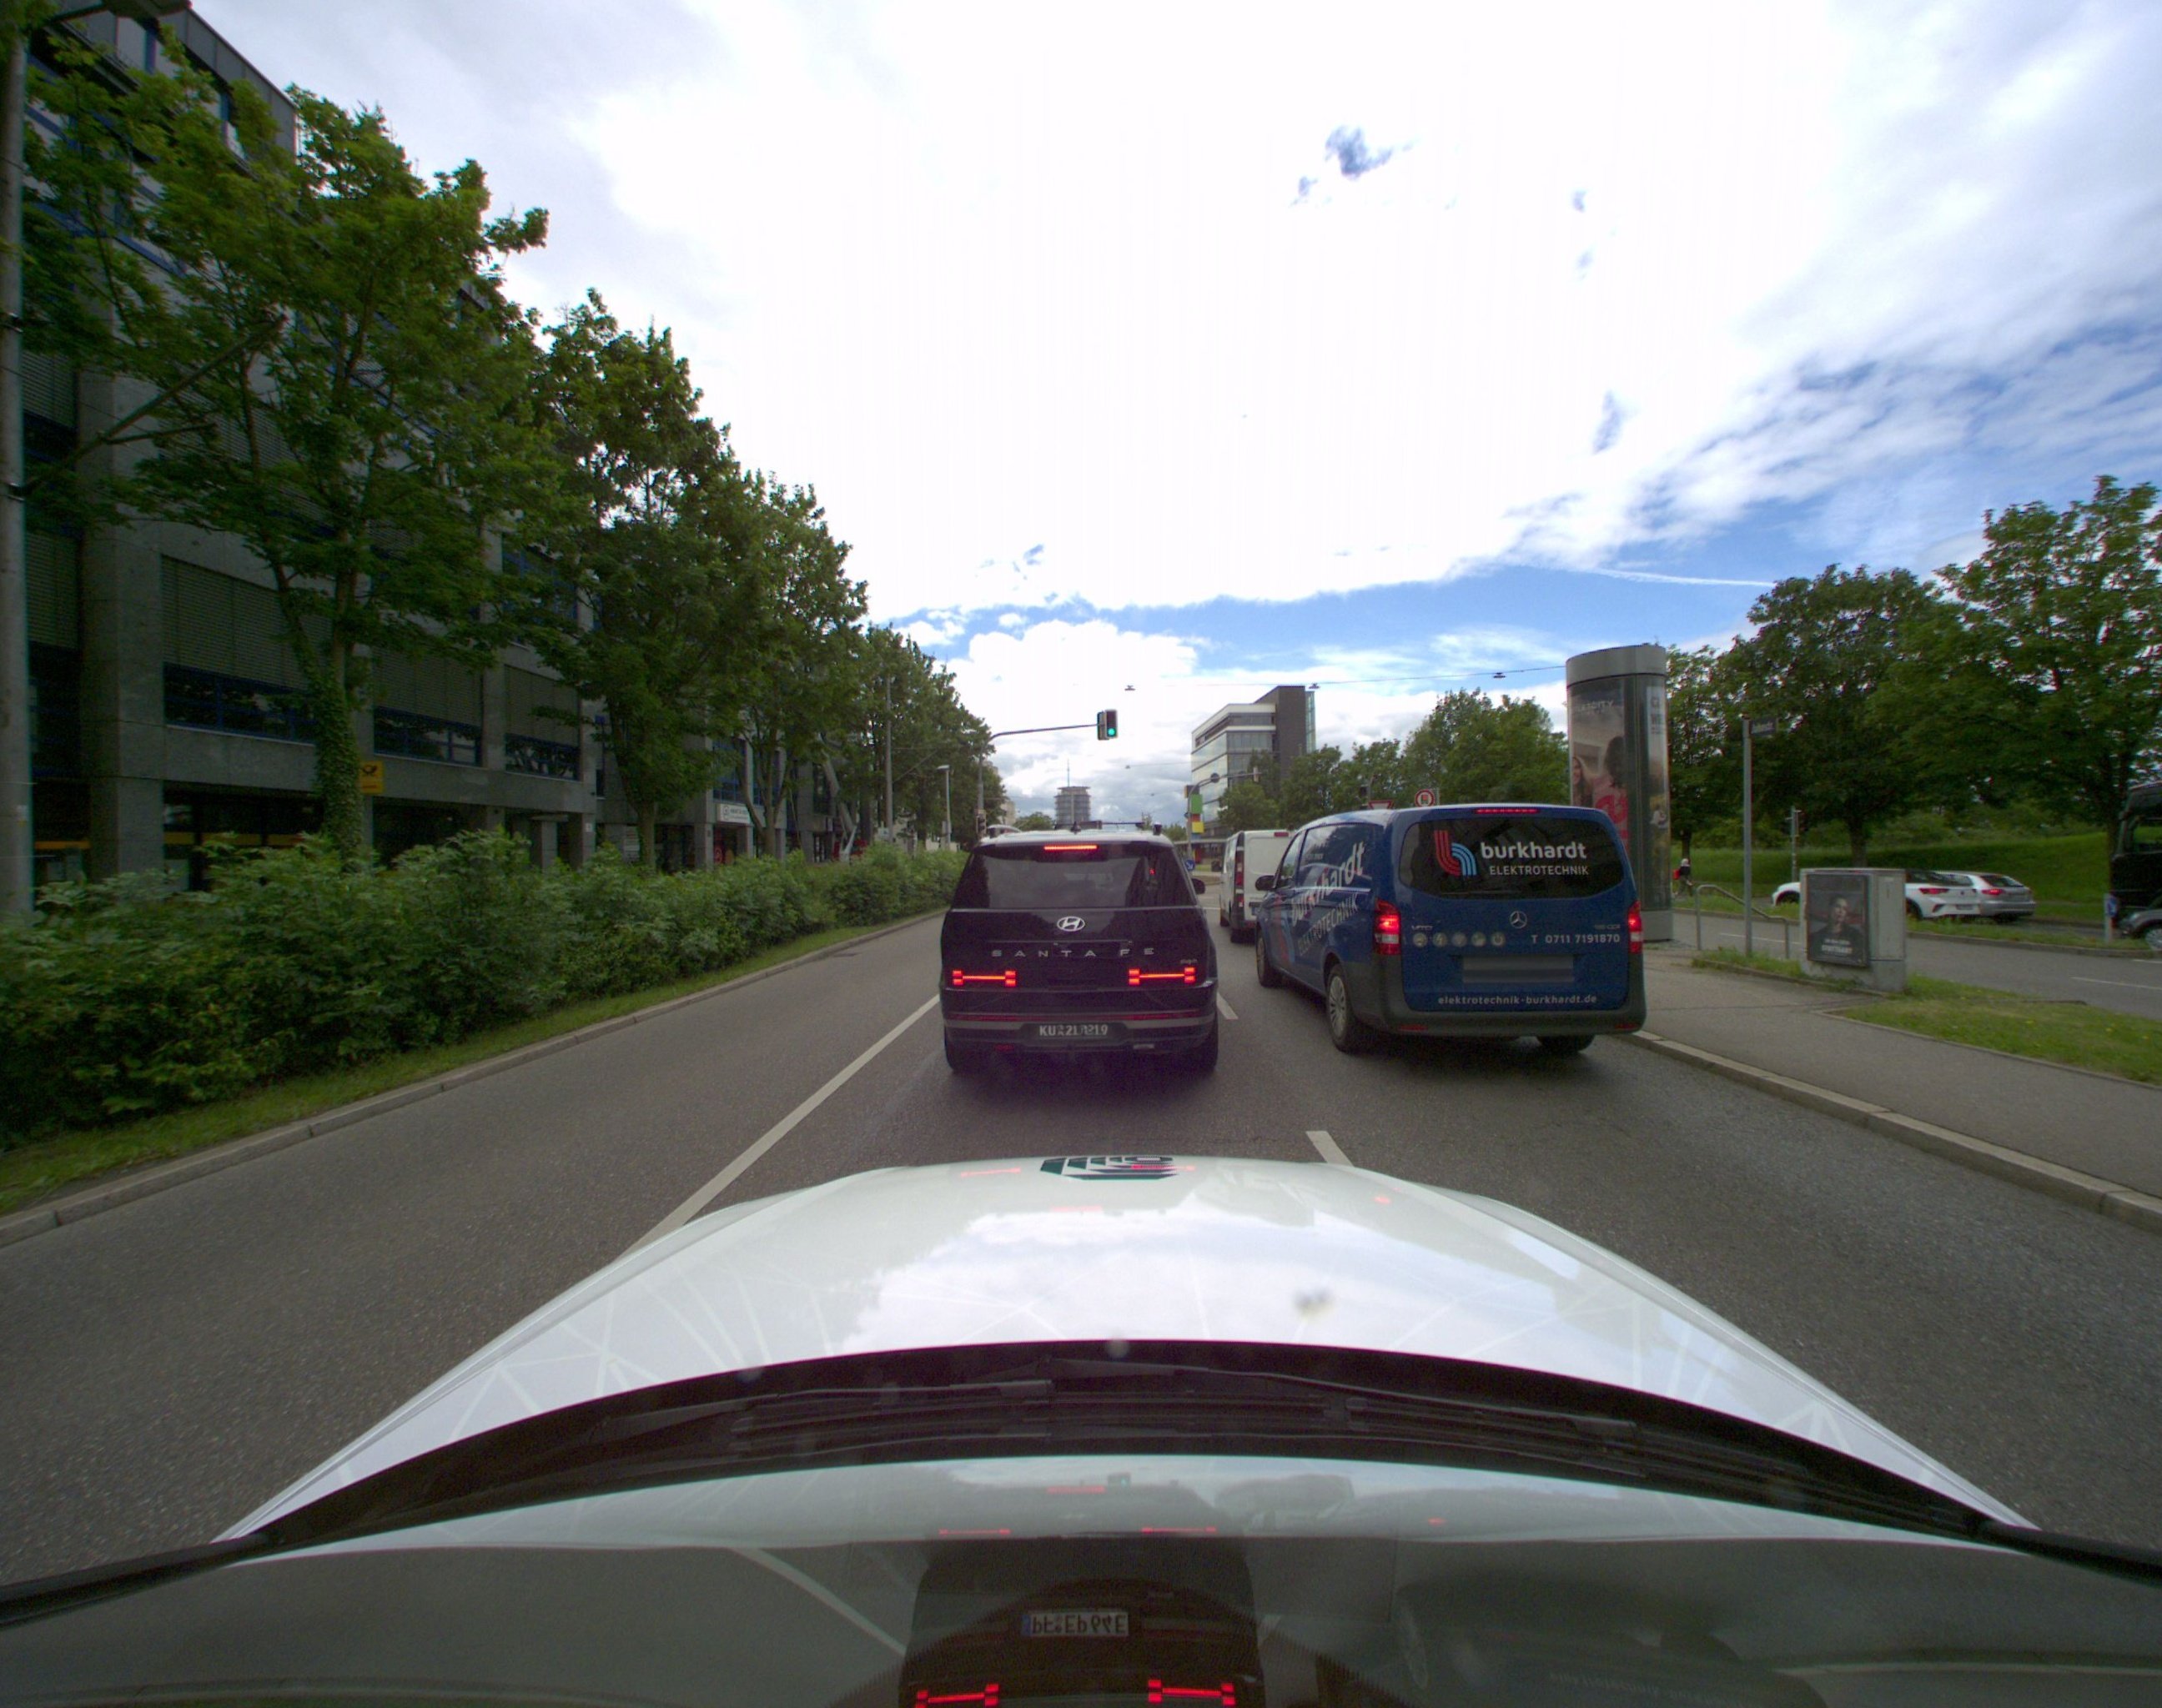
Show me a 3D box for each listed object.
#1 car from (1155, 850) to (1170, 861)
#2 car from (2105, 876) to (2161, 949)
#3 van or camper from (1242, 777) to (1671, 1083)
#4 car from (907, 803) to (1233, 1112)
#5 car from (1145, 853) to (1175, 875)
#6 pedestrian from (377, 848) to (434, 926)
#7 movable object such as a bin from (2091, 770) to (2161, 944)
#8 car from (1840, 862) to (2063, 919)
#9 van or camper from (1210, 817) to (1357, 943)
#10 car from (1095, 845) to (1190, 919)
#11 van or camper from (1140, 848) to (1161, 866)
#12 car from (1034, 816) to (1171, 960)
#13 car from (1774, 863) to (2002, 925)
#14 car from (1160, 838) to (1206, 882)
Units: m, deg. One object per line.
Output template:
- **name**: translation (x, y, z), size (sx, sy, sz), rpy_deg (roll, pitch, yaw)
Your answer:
- **car**: translation (13.117, 0.298, 131.640), size (1.987, 1.684, 3.998), rpy_deg (-1, -1, -1)
- **car**: translation (22.999, 1.219, 15.448), size (1.994, 1.453, 3.985), rpy_deg (1, 0, -11)
- **van or camper**: translation (2.895, 0.488, 7.725), size (1.853, 1.911, 5.034), rpy_deg (-1, 0, 2)
- **car**: translation (-0.005, 0.608, 6.697), size (1.862, 1.760, 3.881), rpy_deg (-1, 0, 2)
- **car**: translation (6.145, 0.780, 63.697), size (1.986, 1.618, 4.001), rpy_deg (-1, -1, 2)
- **pedestrian**: translation (-16.763, 0.809, 20.226), size (0.771, 1.894, 0.731), rpy_deg (-1, -1, 1)
- **movable object such as a bin**: translation (26.253, 0.008, 15.430), size (2.860, 3.903, 8.536), rpy_deg (-1, -1, -11)
- **car**: translation (25.093, 1.001, 23.697), size (1.994, 1.453, 3.985), rpy_deg (1, 0, -11)
- **van or camper**: translation (3.642, 0.430, 15.492), size (1.984, 2.013, 4.659), rpy_deg (-1, 0, 5)
- **car**: translation (1.702, 0.675, 21.110), size (1.763, 1.717, 4.354), rpy_deg (-1, -1, 13)
- **van or camper**: translation (10.283, 0.452, 120.247), size (1.979, 2.547, 6.603), rpy_deg (-1, -1, 14)
- **car**: translation (0.364, 0.490, 13.516), size (1.908, 2.003, 3.881), rpy_deg (-1, 0, 2)
- **car**: translation (21.760, 1.022, 22.199), size (1.994, 1.453, 3.985), rpy_deg (1, 0, -11)
- **car**: translation (4.964, 0.294, 40.094), size (1.985, 2.014, 4.003), rpy_deg (-1, -1, 3)
